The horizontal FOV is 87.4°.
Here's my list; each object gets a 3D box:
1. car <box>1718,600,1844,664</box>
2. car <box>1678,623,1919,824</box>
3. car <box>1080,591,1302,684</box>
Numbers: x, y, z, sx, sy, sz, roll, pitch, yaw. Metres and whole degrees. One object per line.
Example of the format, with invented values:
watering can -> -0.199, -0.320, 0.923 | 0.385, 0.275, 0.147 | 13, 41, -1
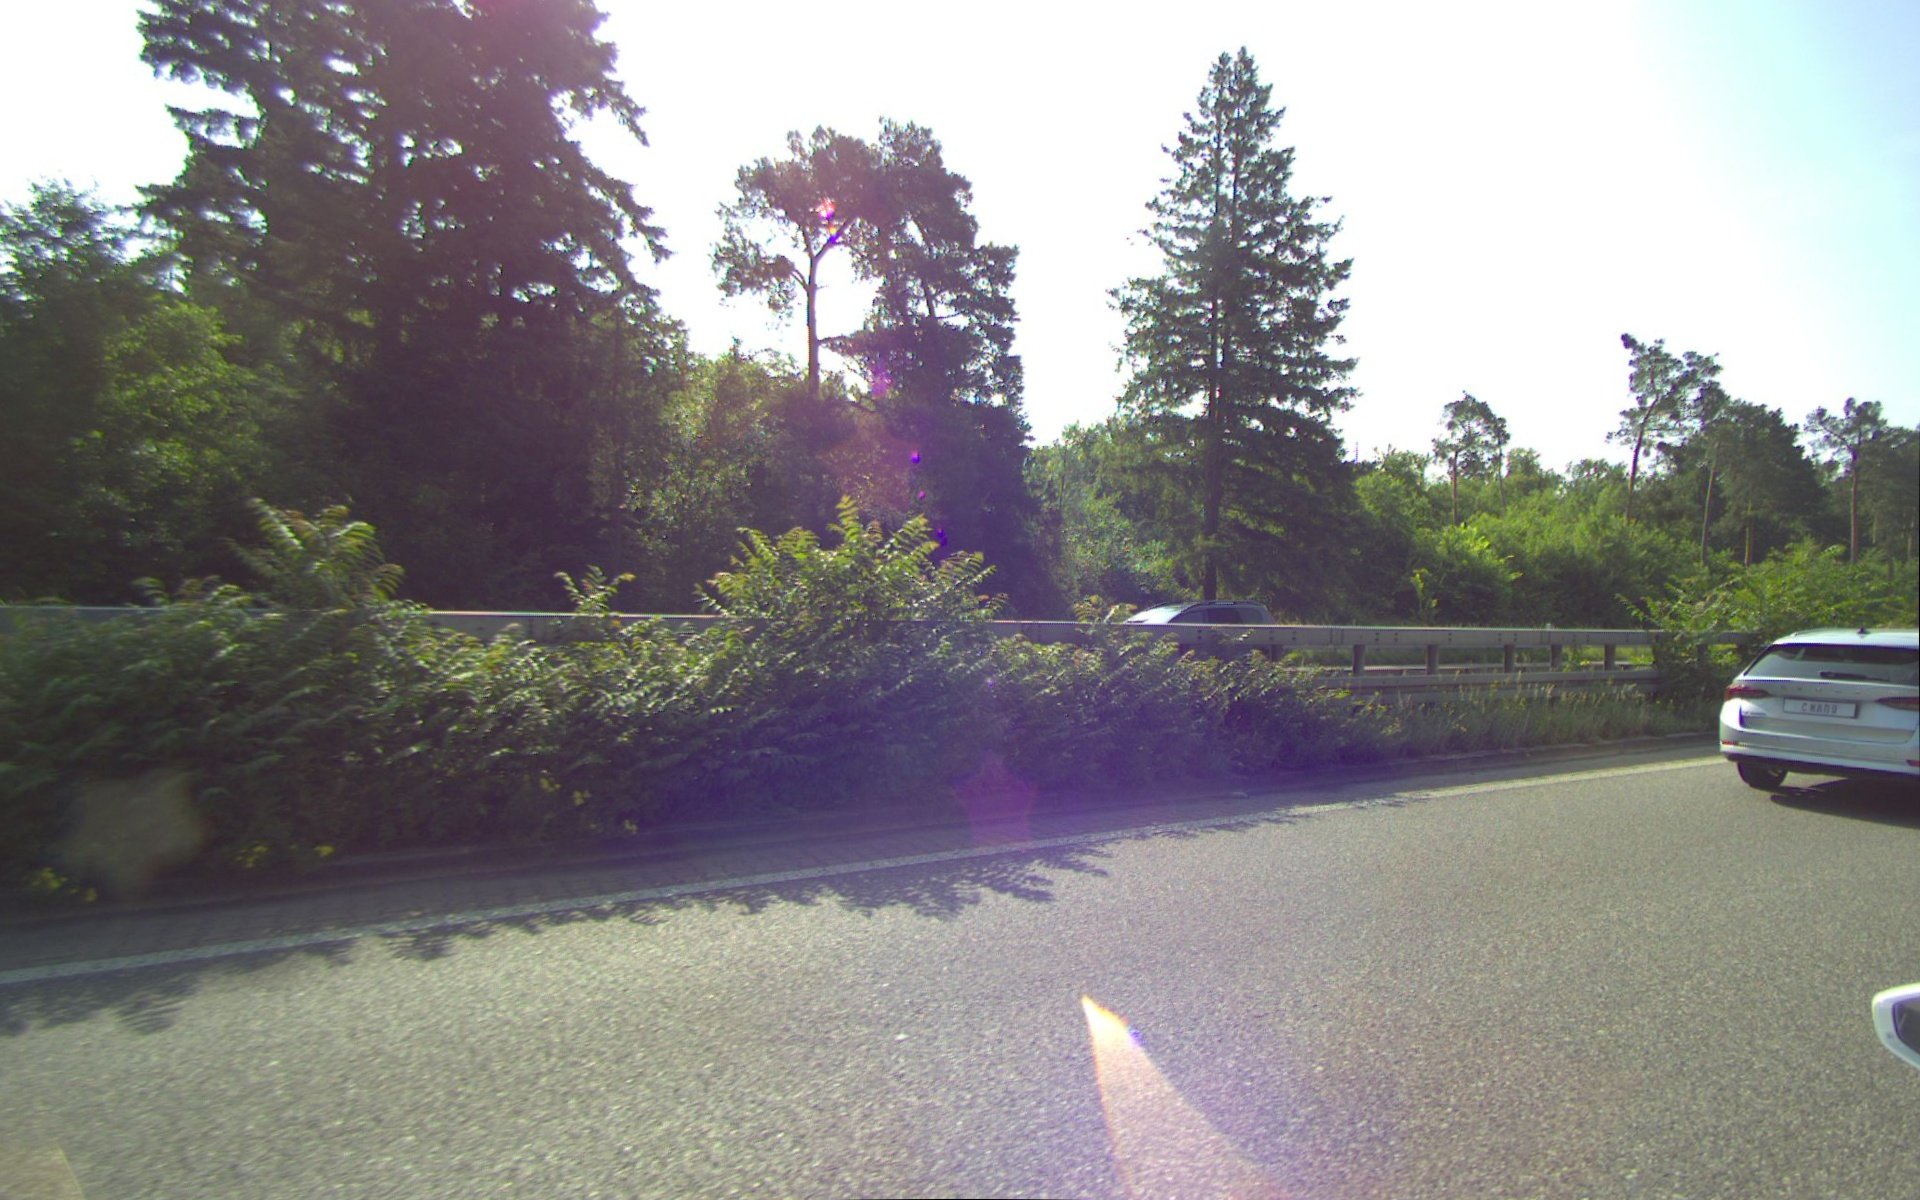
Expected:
car -> 27.574, 1.078, 33.726 | 4.441, 2.040, 1.807 | 2, 0, -30
car -> 8.978, 0.968, 9.319 | 5.215, 1.457, 1.784 | 1, -1, -30
car -> 4.683, 0.739, 20.198 | 4.249, 1.705, 1.807 | 2, 0, -30
